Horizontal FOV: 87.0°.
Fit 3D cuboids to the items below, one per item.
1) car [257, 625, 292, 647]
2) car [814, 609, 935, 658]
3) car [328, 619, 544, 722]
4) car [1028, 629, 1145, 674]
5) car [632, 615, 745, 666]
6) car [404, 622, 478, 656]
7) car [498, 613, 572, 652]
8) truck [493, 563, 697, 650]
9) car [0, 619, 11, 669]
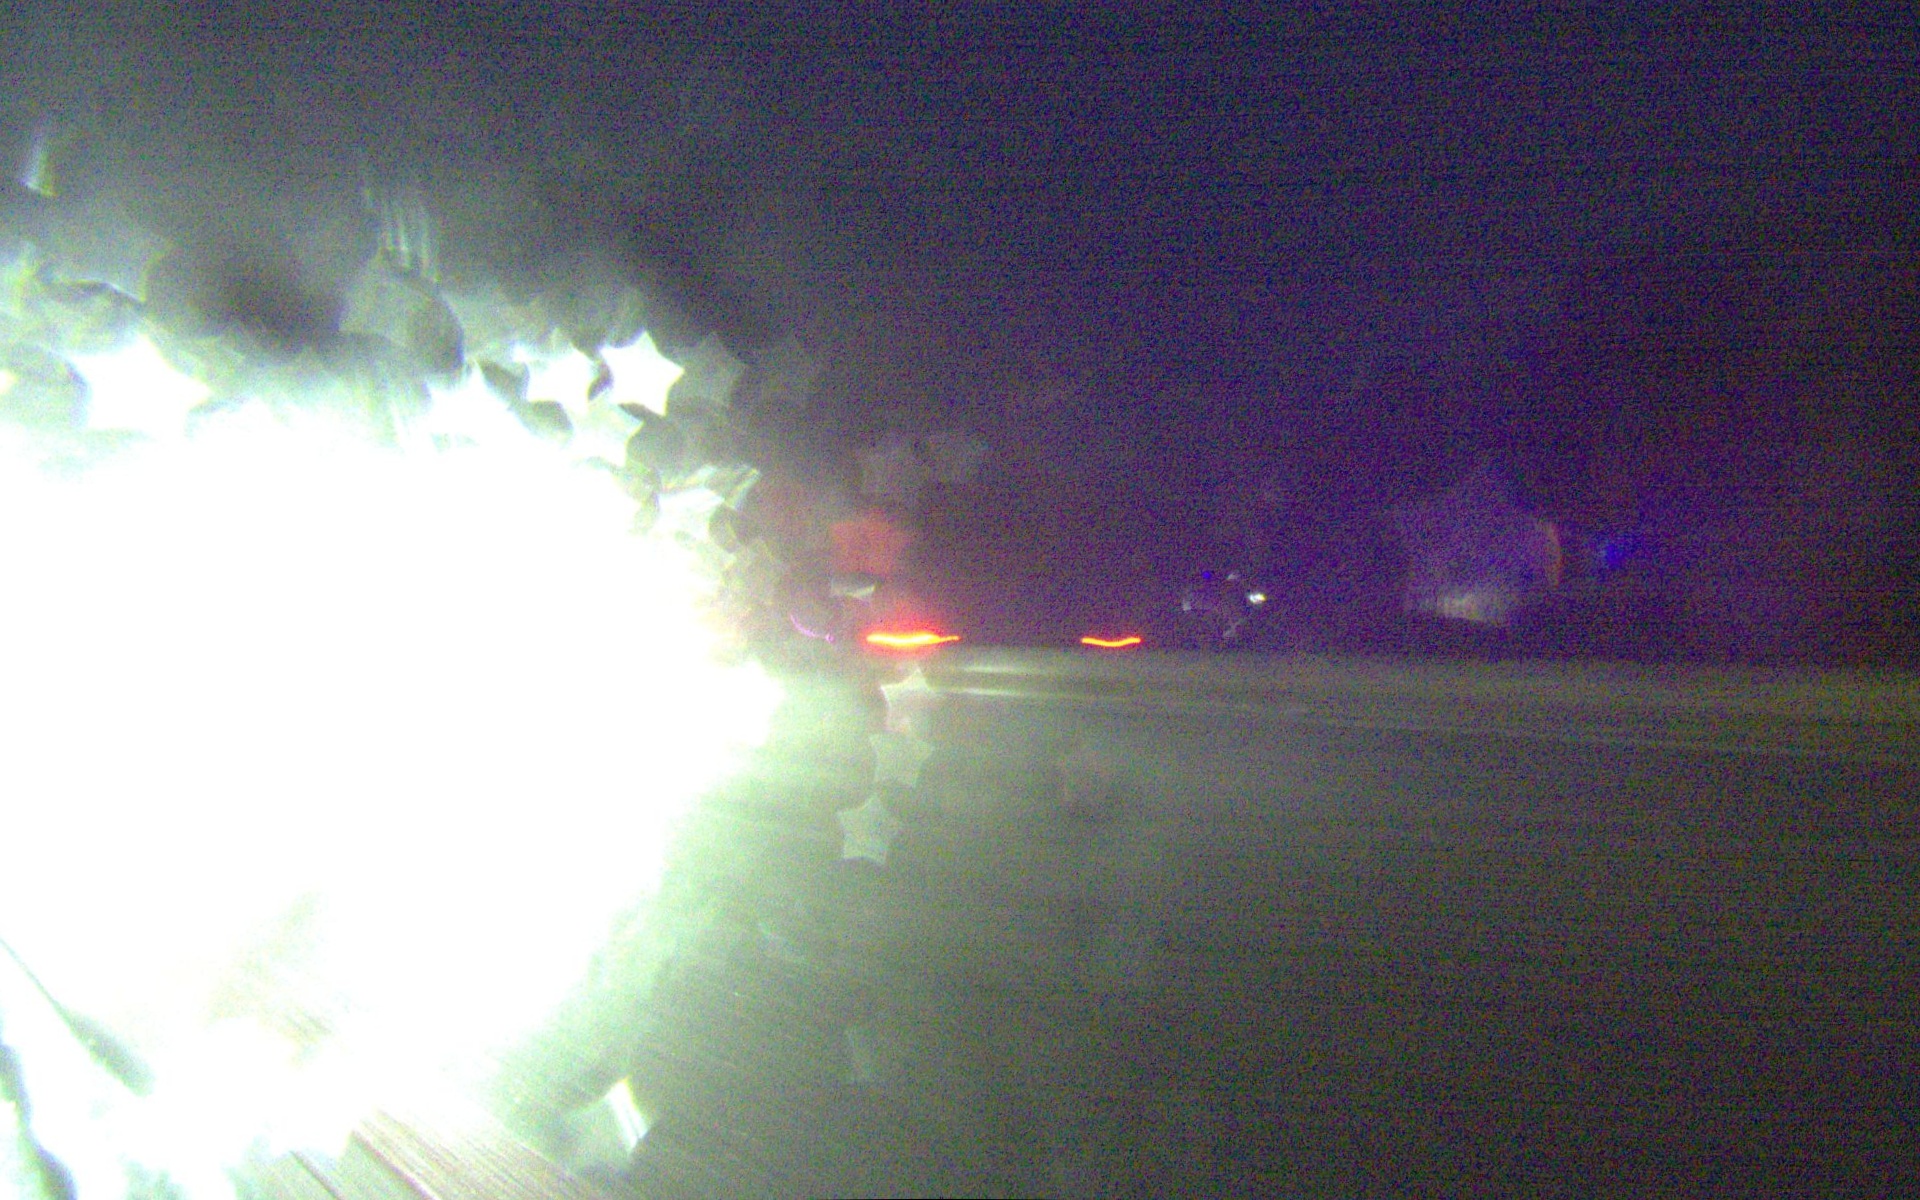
[{"bbox_3d":[-58.427,3.067,86.212,3.910,1.818,1.613,-1,0,42],"label":"car"},{"bbox_3d":[-2.794,1.059,32.618,3.930,1.457,1.625,-1,0,41],"label":"car"},{"bbox_3d":[-8.567,1.070,16.393,4.243,1.442,1.639,-2,-1,41],"label":"car"},{"bbox_3d":[4.510,1.822,36.434,3.930,1.457,1.625,-1,0,41],"label":"car"},{"bbox_3d":[-8.825,1.281,32.776,3.813,1.515,1.661,-1,0,41],"label":"car"},{"bbox_3d":[-23.629,1.754,46.036,3.955,1.441,1.597,-1,0,41],"label":"car"},{"bbox_3d":[-20.296,1.544,48.298,3.873,1.737,1.723,-1,0,41],"label":"car"},{"bbox_3d":[-22.300,0.479,60.495,17.591,4.593,3.374,-1,0,41],"label":"truck"},{"bbox_3d":[-34.570,1.552,35.091,4.913,1.677,1.935,-2,-1,41],"label":"car"}]
